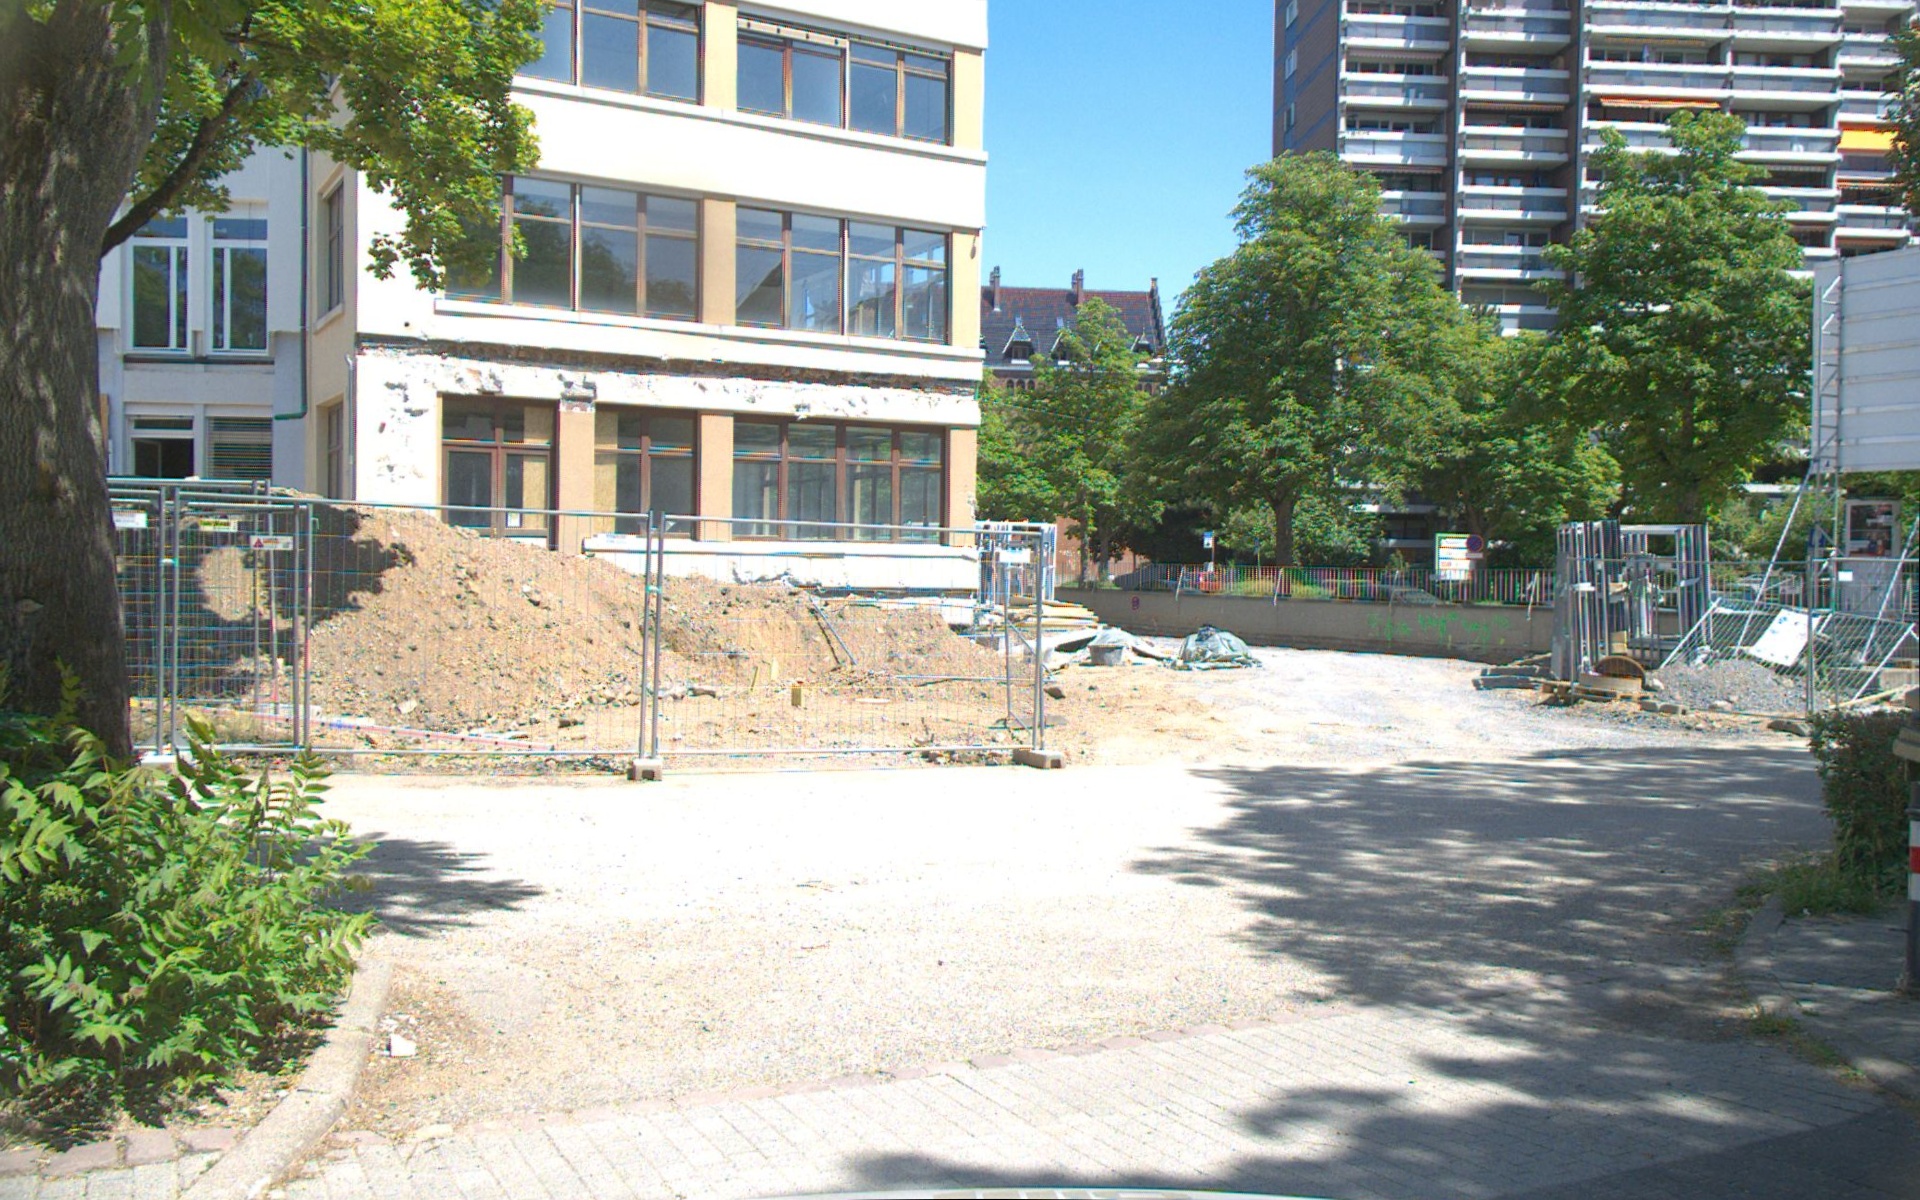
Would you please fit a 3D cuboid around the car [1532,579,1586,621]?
[{"bbox_3d":[20.922,-0.026,57.869,1.599,1.411,3.680,1,1,17],"label":"car"}]

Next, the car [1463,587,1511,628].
[{"bbox_3d":[18.942,0.257,59.502,1.599,1.411,3.680,1,1,17],"label":"car"}]

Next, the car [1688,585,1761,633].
[{"bbox_3d":[23.919,0.258,51.830,1.599,1.411,3.680,1,1,17],"label":"car"}]

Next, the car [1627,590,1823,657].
[{"bbox_3d":[18.534,0.525,40.257,1.741,1.489,4.103,0,1,-30],"label":"car"}]

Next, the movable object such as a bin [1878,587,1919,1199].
[{"bbox_3d":[2.502,0.732,2.901,1.154,1.495,1.334,1,0,9],"label":"movable object such as a bin"}]
